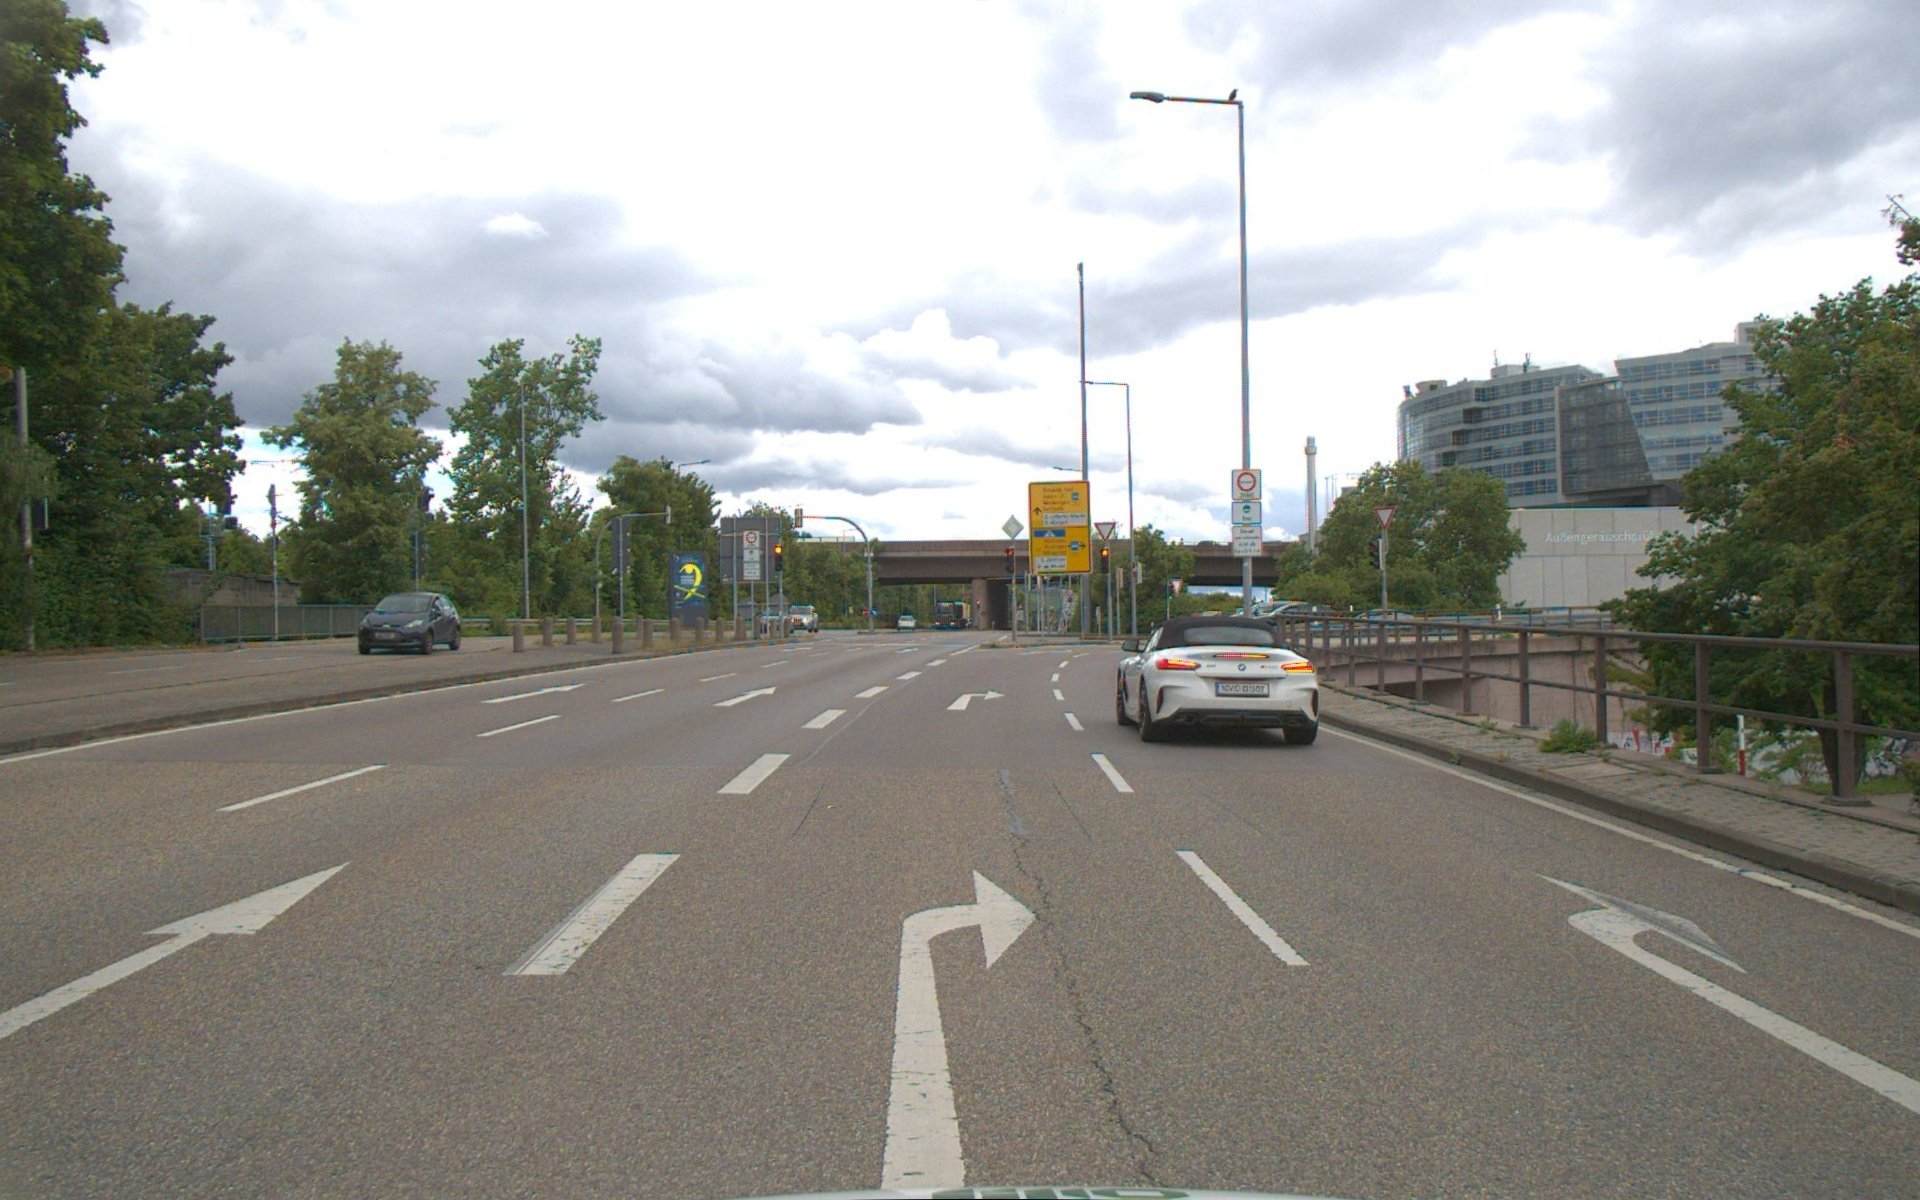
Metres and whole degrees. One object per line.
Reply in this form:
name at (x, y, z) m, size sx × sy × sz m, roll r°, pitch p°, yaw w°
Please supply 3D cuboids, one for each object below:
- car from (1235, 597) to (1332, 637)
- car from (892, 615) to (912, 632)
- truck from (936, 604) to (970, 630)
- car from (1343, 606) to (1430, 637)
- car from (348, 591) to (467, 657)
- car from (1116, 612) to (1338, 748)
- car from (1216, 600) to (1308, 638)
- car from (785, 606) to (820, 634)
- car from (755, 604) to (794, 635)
car at (15.328, 0.815, 78.516) m, size 4.280 × 1.789 × 2.001 m, roll -1°, pitch -2°, yaw 3°
car at (-5.708, 2.289, 162.653) m, size 1.704 × 1.564 × 3.673 m, roll 0°, pitch 0°, yaw 2°
truck at (-0.850, 2.204, 209.924) m, size 2.861 × 3.201 × 10.118 m, roll 1°, pitch -1°, yaw 7°
car at (23.100, 1.179, 89.690) m, size 4.280 × 1.598 × 2.001 m, roll -1°, pitch -2°, yaw 3°
car at (-13.563, 0.581, 40.801) m, size 1.724 × 1.510 × 3.484 m, roll 2°, pitch 0°, yaw 0°
car at (2.849, 0.815, 18.433) m, size 1.836 × 1.332 × 3.872 m, roll 1°, pitch -1°, yaw 0°
car at (14.998, 0.960, 82.278) m, size 4.280 × 1.789 × 2.001 m, roll -1°, pitch -2°, yaw 3°
car at (-9.690, 1.222, 102.023) m, size 1.735 × 1.661 × 3.824 m, roll 1°, pitch 0°, yaw 0°
car at (-10.418, 1.109, 93.115) m, size 1.735 × 1.674 × 3.824 m, roll 1°, pitch 0°, yaw 0°
